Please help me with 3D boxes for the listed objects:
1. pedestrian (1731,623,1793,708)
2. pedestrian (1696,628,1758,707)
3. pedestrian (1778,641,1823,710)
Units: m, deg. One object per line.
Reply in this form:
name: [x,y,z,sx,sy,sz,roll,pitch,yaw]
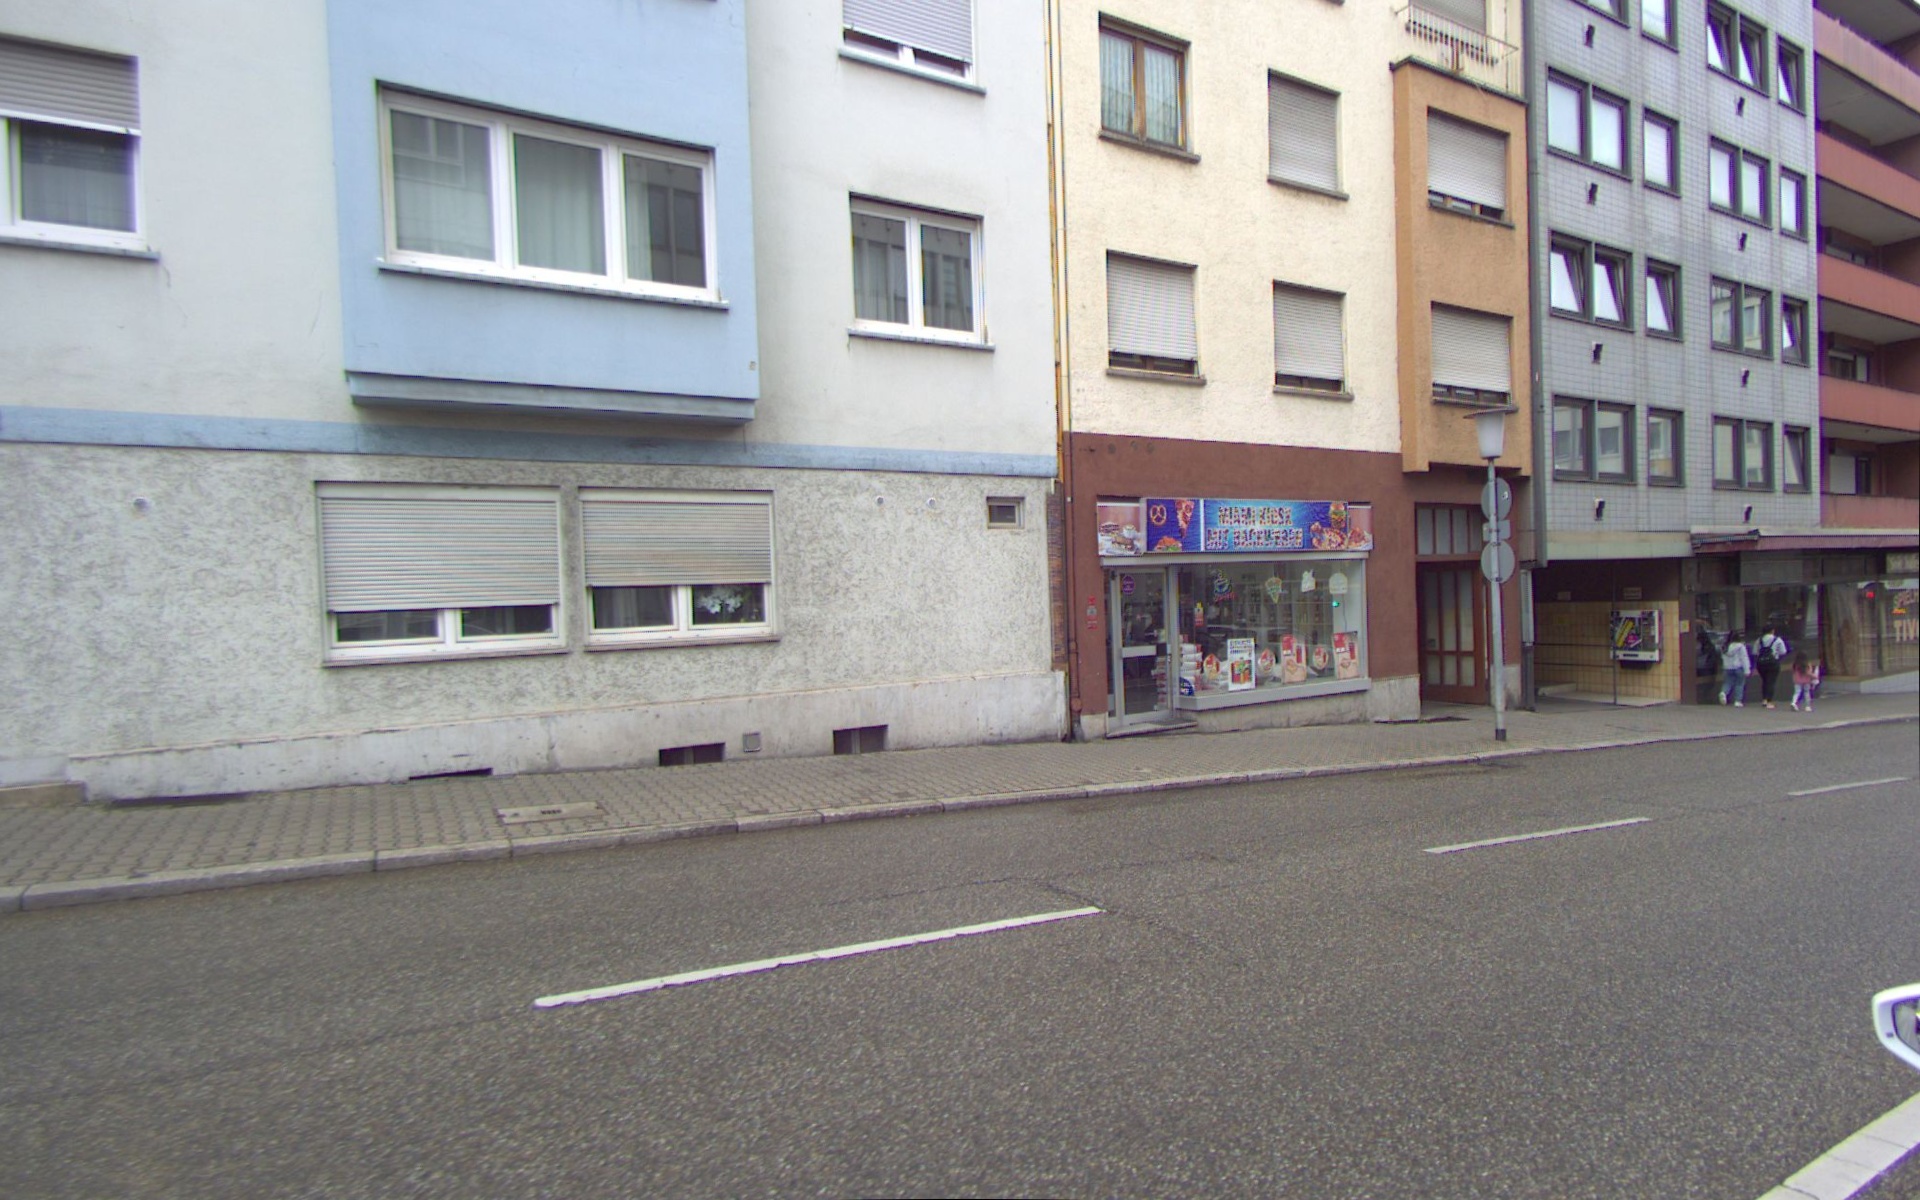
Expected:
pedestrian: [16.913,1.361,21.196,0.717,1.712,0.821,1,1,-38]
pedestrian: [16.061,1.397,21.043,0.717,1.581,0.821,1,1,-38]
pedestrian: [17.176,1.527,20.532,0.717,1.341,0.529,1,1,-39]
